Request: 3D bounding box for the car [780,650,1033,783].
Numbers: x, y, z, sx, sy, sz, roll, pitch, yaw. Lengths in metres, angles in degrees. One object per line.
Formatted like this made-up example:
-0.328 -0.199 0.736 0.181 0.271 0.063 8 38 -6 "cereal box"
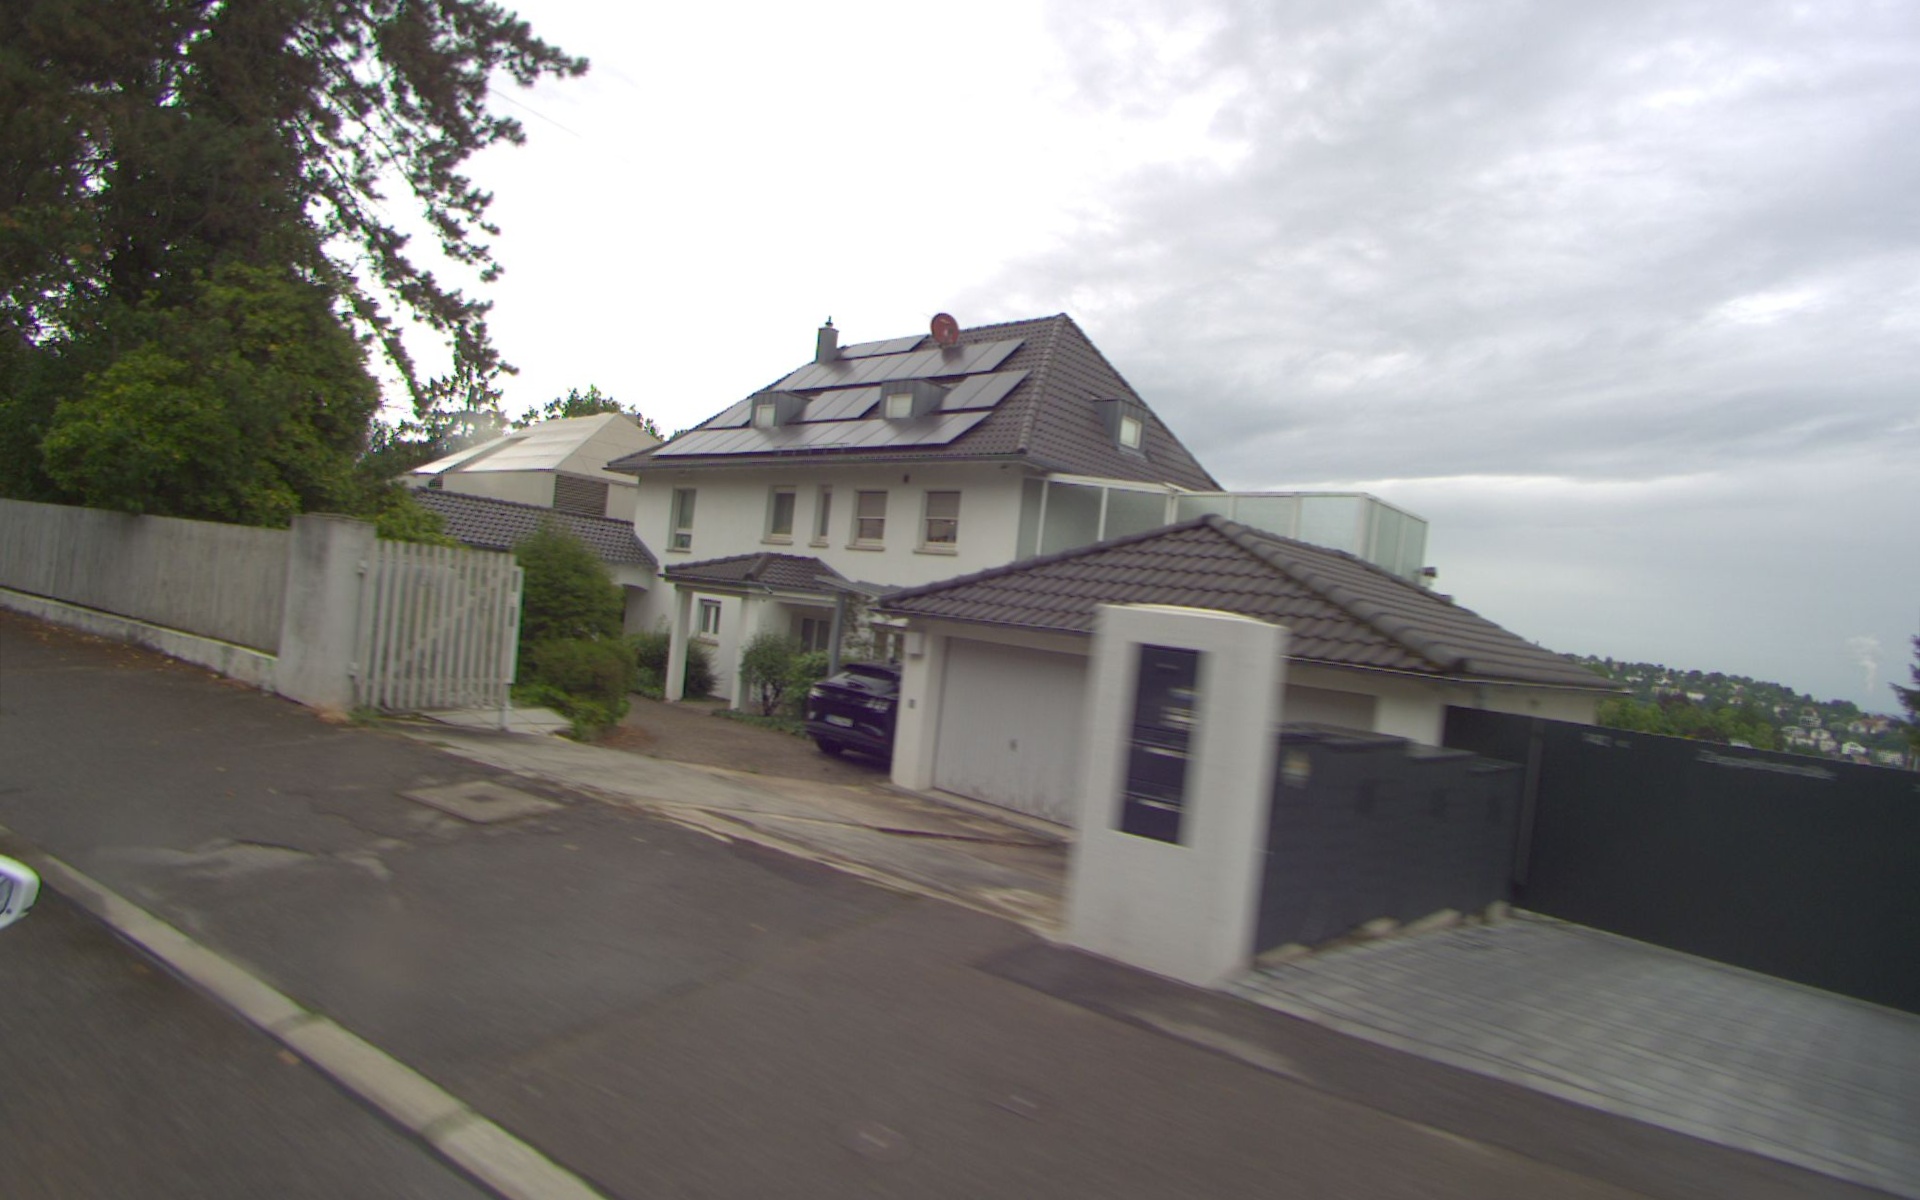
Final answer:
-0.727 1.844 16.170 1.841 1.607 3.991 8 -1 35 "car"
